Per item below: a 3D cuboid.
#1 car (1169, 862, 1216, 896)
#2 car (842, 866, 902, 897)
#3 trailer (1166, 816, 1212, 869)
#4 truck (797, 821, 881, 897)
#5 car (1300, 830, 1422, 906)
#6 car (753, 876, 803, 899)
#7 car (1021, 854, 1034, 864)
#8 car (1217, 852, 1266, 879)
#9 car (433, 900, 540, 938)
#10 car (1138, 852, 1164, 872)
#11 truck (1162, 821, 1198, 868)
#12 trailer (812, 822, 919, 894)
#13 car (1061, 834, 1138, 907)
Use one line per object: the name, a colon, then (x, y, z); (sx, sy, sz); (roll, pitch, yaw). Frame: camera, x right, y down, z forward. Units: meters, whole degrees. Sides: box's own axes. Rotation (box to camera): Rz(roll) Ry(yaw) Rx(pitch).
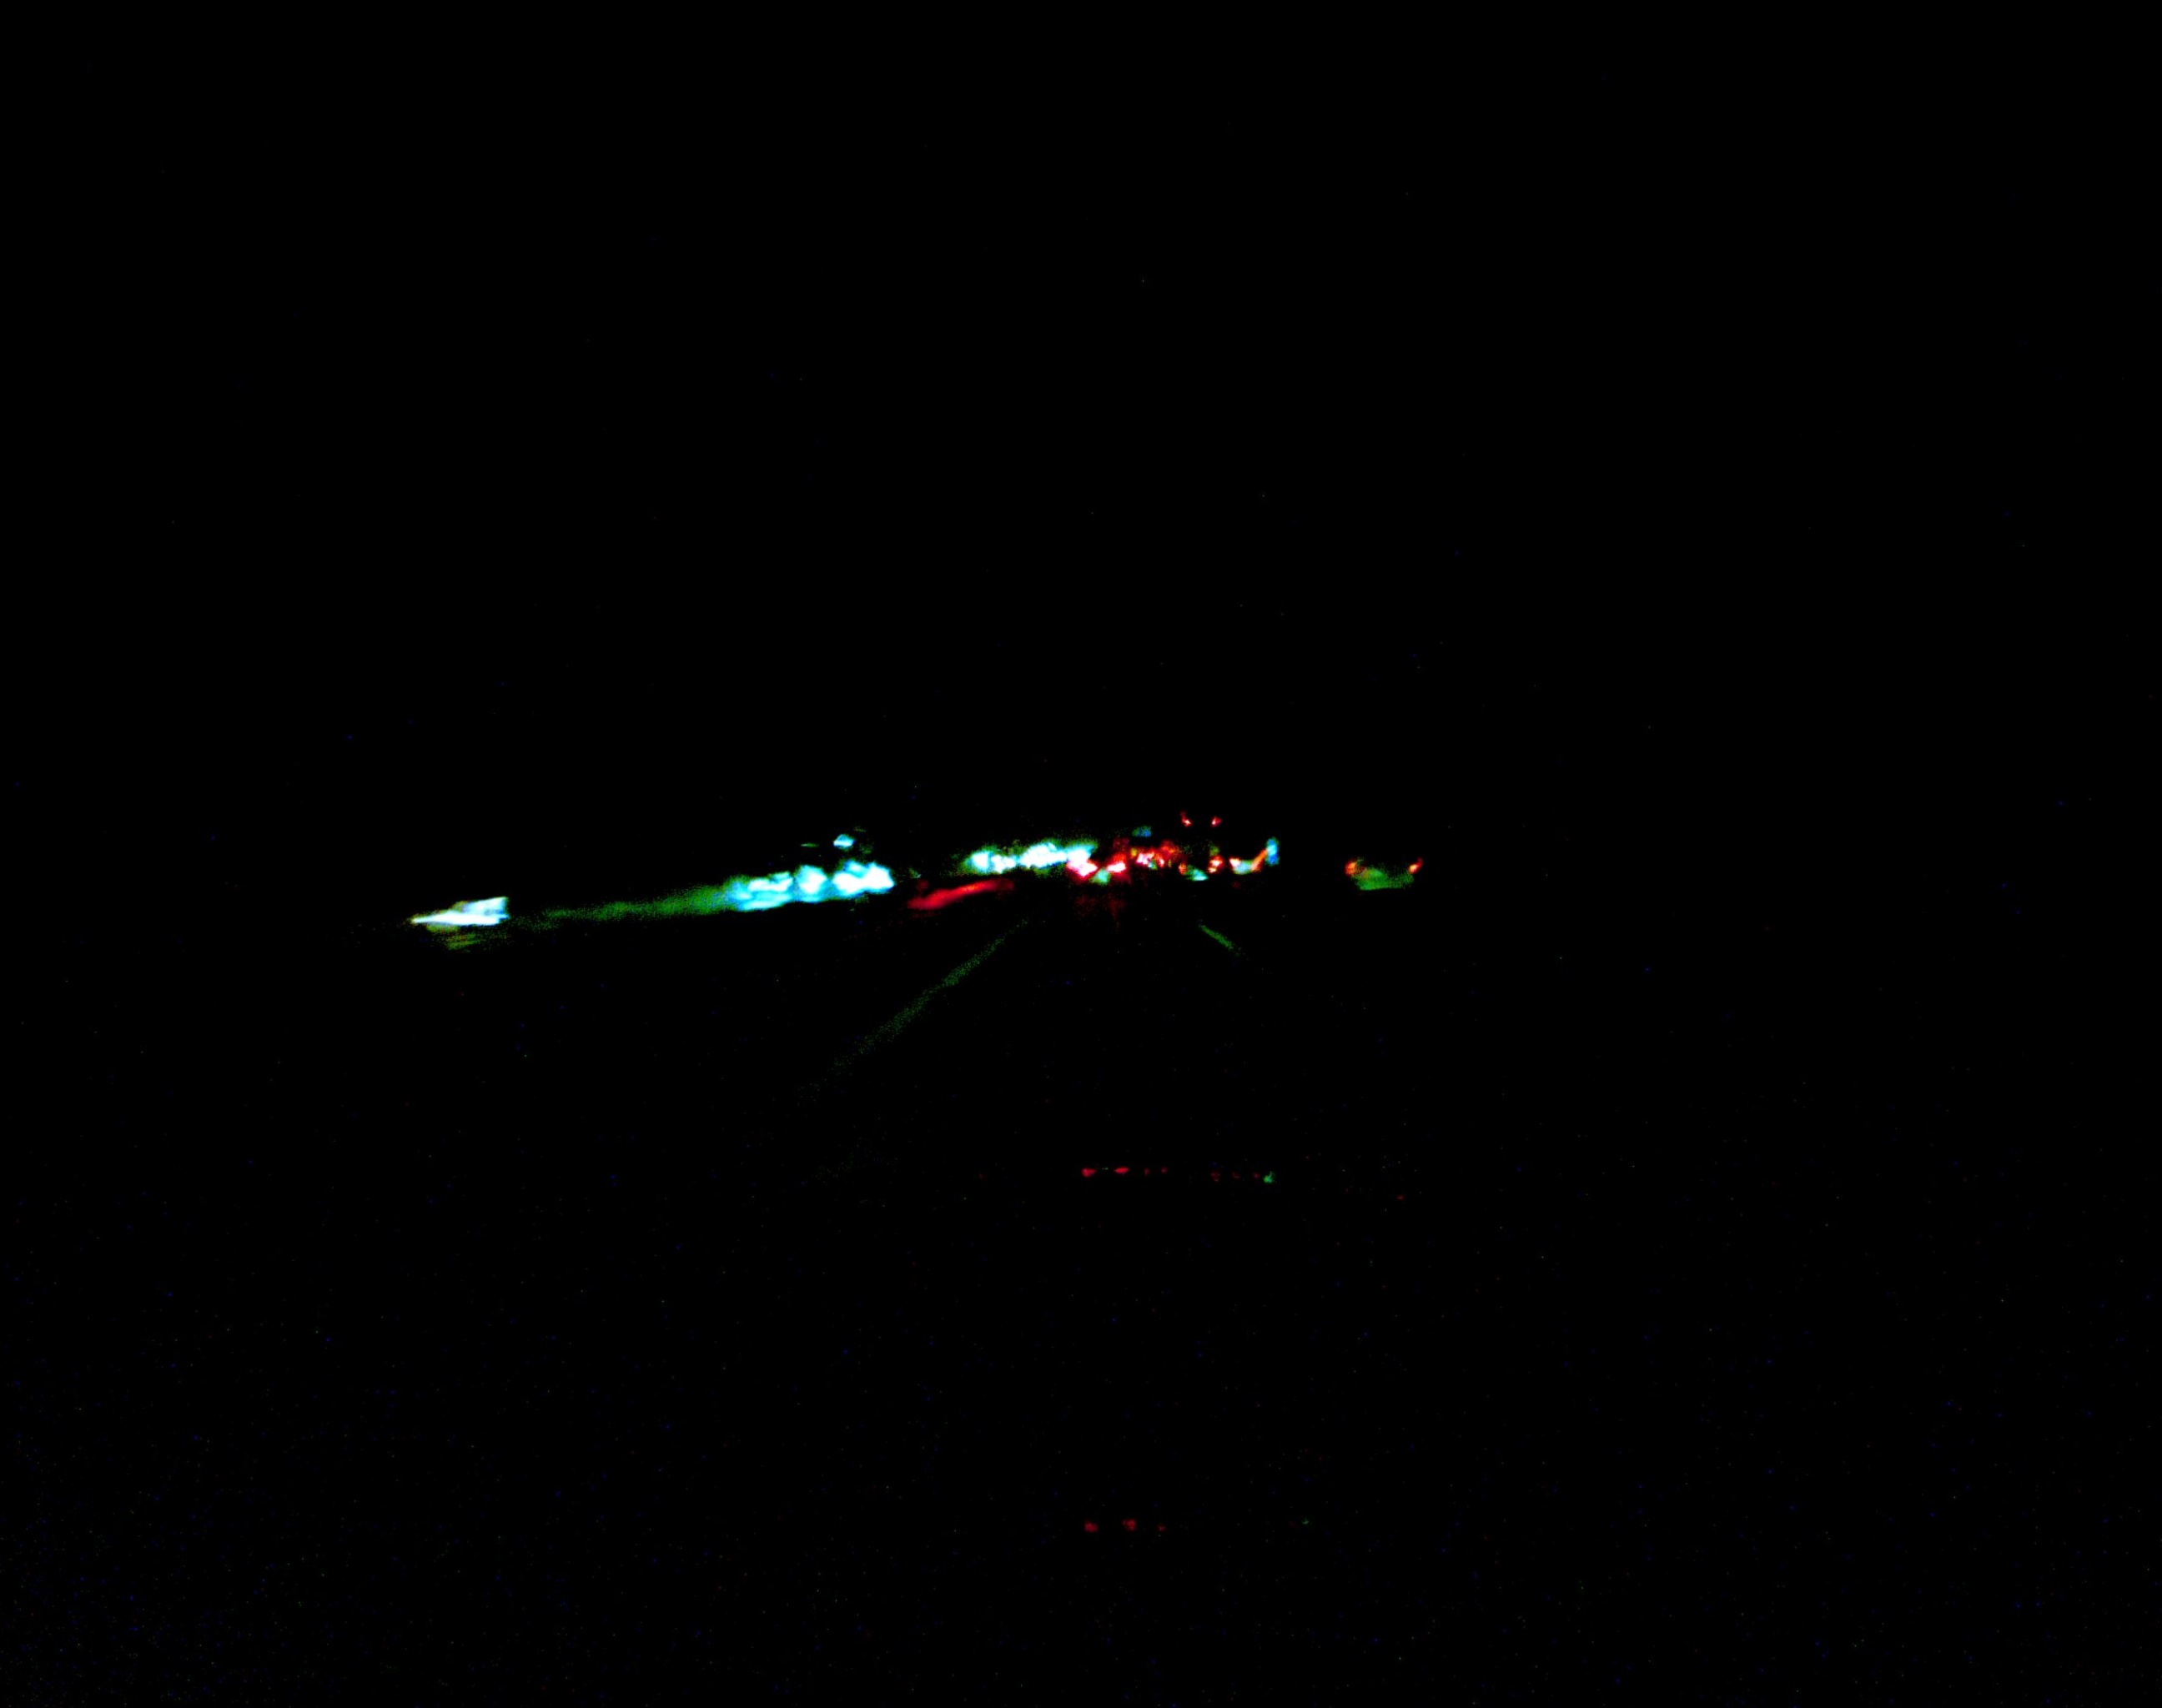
car: (4.914, 1.064, 36.388); (1.607, 1.412, 3.792); (-1, 0, 1)
car: (-10.873, 1.394, 42.668); (1.986, 1.420, 4.002); (-3, 0, 2)
trailer: (9.311, -0.890, 71.544); (2.793, 4.212, 12.101); (-1, 0, 2)
truck: (-14.950, 0.284, 50.863); (3.043, 4.293, 6.086); (-3, 0, 2)
car: (8.392, 0.370, 24.978); (2.038, 1.974, 5.411); (-3, 0, 3)
car: (-18.916, 2.065, 50.935); (1.604, 1.230, 3.683); (-3, 0, 2)
car: (-9.028, 0.888, 137.577); (1.672, 1.597, 4.349); (-3, 0, 1)
car: (9.144, 0.612, 46.755); (1.887, 1.486, 4.962); (0, 0, 1)
car: (-22.972, 2.491, 31.623); (1.404, 1.126, 3.543); (-3, 0, 2)
car: (5.710, 0.628, 67.001); (1.877, 1.588, 4.002); (-1, 0, 2)
truck: (9.514, -0.870, 78.907); (2.793, 4.267, 7.451); (-1, 0, 2)
trailer: (-14.750, 0.235, 57.532); (3.037, 4.293, 14.415); (-3, 0, 2)
car: (0.709, 0.601, 32.827); (2.701, 2.534, 5.831); (-3, 0, 0)
